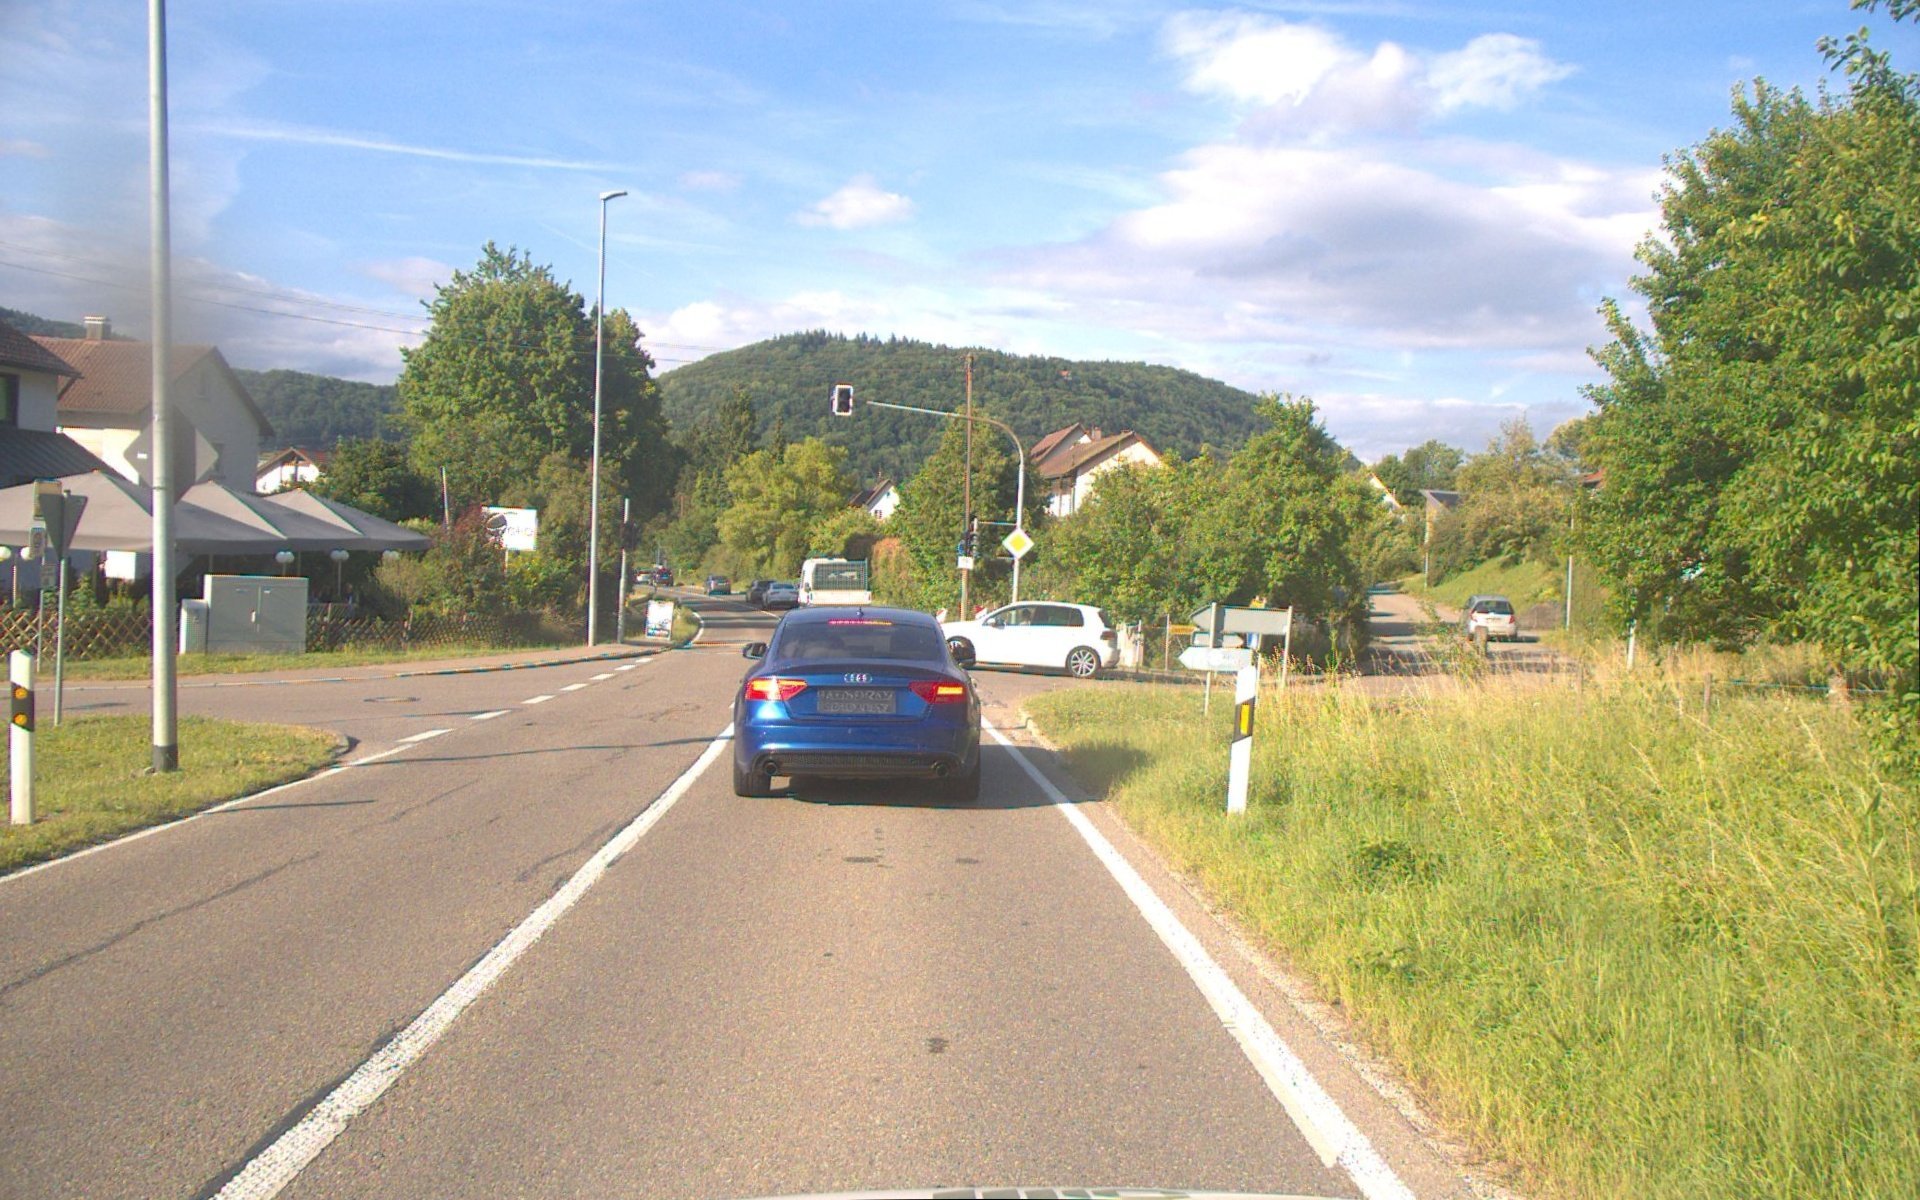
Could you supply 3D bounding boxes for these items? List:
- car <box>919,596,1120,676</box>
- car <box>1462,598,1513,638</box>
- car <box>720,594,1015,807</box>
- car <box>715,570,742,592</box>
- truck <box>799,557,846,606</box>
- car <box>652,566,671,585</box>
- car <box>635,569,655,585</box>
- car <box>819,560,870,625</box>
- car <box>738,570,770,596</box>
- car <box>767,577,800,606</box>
[{"bbox_3d":[1.262,0.728,33.956,3.958,1.534,1.856,1,-1,7],"label":"car"},{"bbox_3d":[19.122,0.654,60.063,1.589,1.414,4.003,1,-1,15],"label":"car"},{"bbox_3d":[-0.561,0.692,13.054,1.757,1.412,4.002,0,-1,5],"label":"car"},{"bbox_3d":[-17.493,-1.422,125.059,1.786,1.601,3.996,1,-1,-5],"label":"car"},{"bbox_3d":[-6.029,-0.769,72.055,1.666,1.988,5.911,1,-1,-8],"label":"truck"},{"bbox_3d":[-28.019,-2.300,155.435,1.596,1.604,3.672,1,-1,-9],"label":"car"},{"bbox_3d":[-31.450,-2.260,165.152,1.656,1.463,3.666,1,-1,-6],"label":"car"},{"bbox_3d":[-4.094,-0.244,58.984,1.711,2.234,3.997,1,-1,-3],"label":"car"},{"bbox_3d":[-12.719,-1.016,101.918,1.667,1.516,3.516,1,-1,-12],"label":"car"},{"bbox_3d":[-9.676,-0.455,90.410,1.666,1.516,3.520,1,-1,-8],"label":"car"}]
